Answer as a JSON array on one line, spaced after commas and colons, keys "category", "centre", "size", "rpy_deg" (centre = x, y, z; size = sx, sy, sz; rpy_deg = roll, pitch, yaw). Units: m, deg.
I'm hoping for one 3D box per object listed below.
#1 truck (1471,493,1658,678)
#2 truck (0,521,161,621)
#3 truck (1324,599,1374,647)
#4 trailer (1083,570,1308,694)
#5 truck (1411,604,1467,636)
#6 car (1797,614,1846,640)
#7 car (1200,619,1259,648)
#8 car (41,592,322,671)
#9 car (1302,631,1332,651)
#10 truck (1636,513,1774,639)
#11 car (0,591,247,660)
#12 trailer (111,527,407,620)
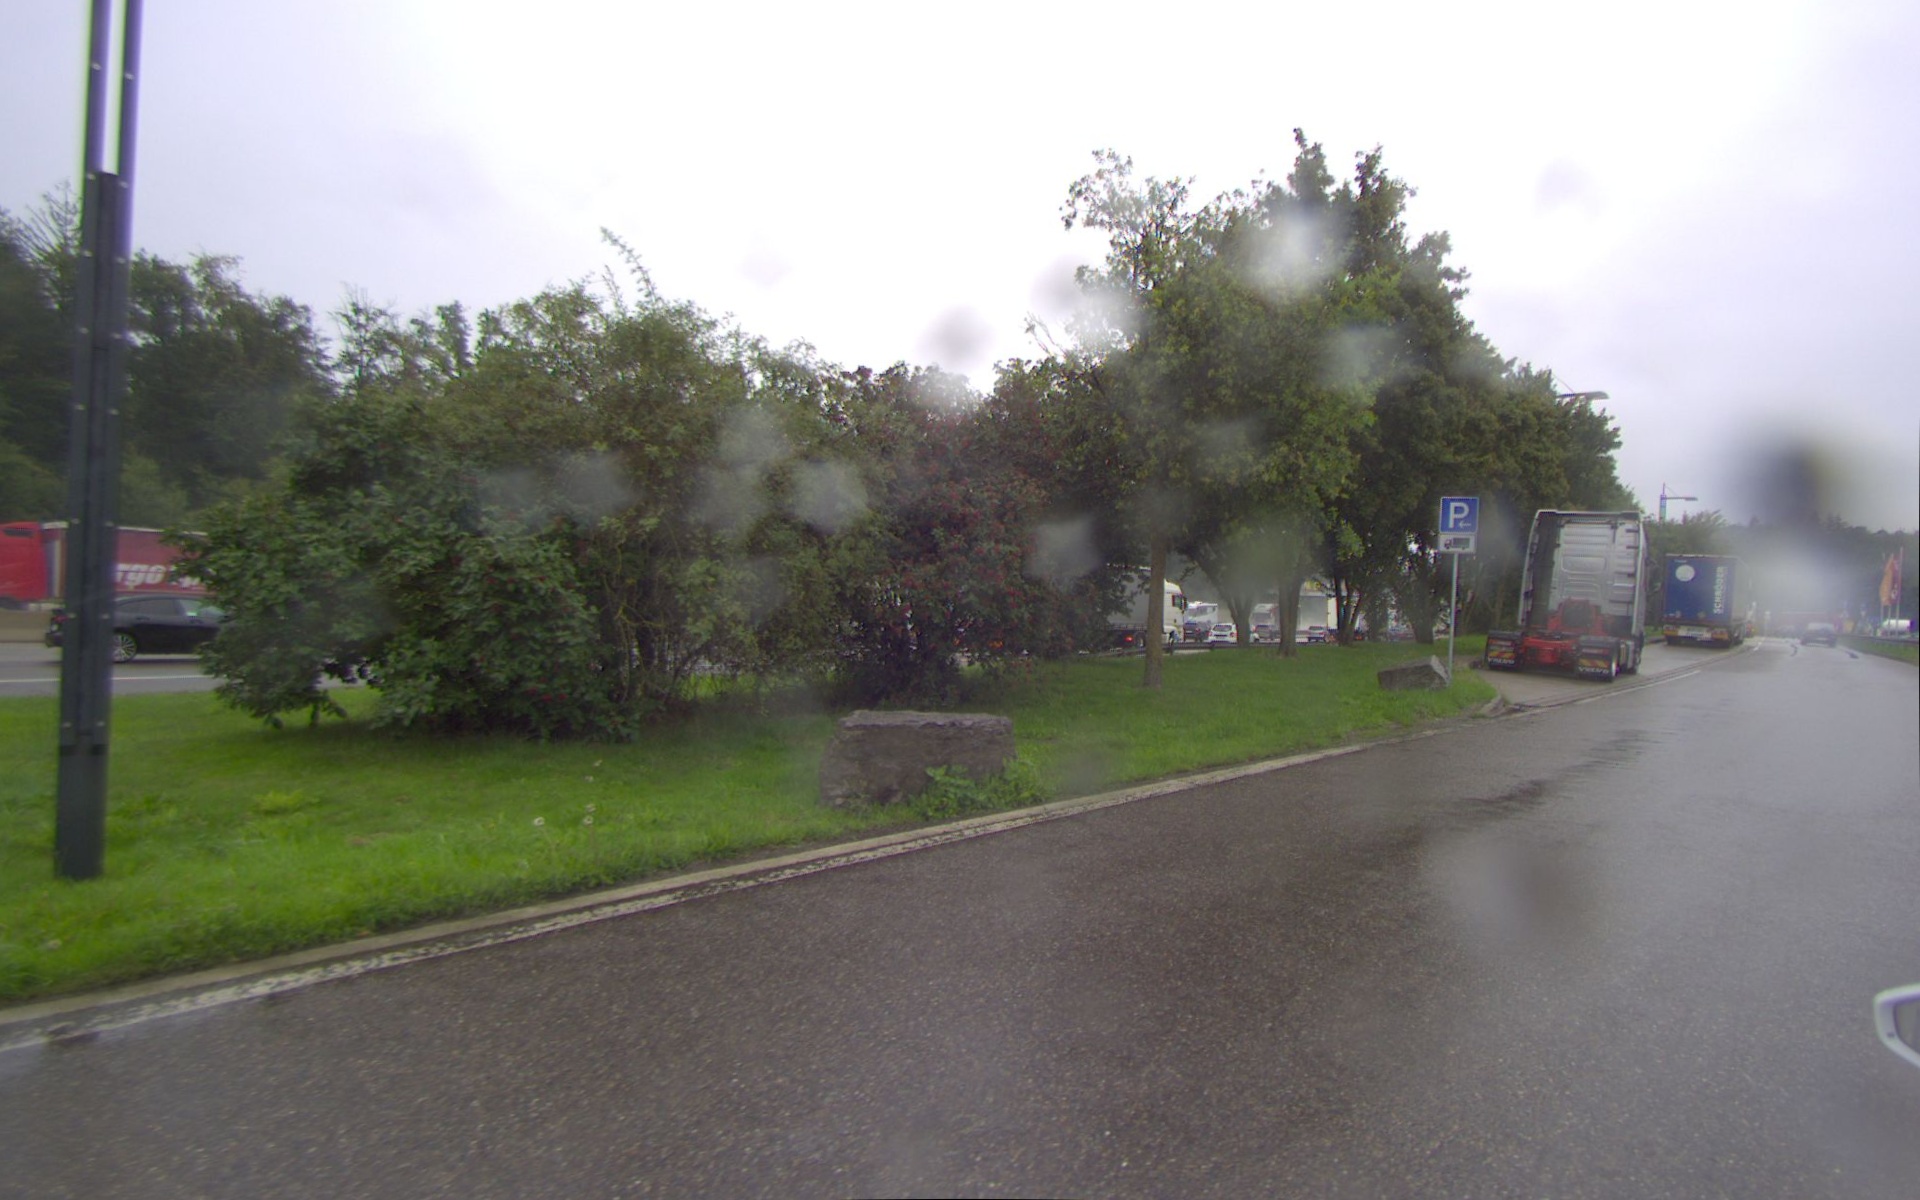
[{"category": "truck", "centre": [15.038, -0.297, 24.761], "size": [2.881, 3.956, 6.285], "rpy_deg": [2, 1, 41]}, {"category": "truck", "centre": [-35.545, -1.132, 39.662], "size": [2.409, 3.668, 5.779], "rpy_deg": [6, 3, 37]}, {"category": "truck", "centre": [30.652, 1.810, 79.061], "size": [2.467, 3.408, 4.742], "rpy_deg": [6, 1, 32]}, {"category": "trailer", "centre": [9.713, 1.324, 39.204], "size": [2.859, 4.035, 14.061], "rpy_deg": [0, -2, 38]}, {"category": "truck", "centre": [54.161, 2.261, 113.548], "size": [5.183, 3.043, 1.990], "rpy_deg": [7, 5, 41]}, {"category": "car", "centre": [54.619, 1.705, 63.658], "size": [3.971, 1.481, 1.861], "rpy_deg": [2, 1, -43]}, {"category": "car", "centre": [15.546, 1.921, 57.848], "size": [1.885, 1.571, 3.984], "rpy_deg": [1, -1, 37]}, {"category": "car", "centre": [-16.789, 0.702, 21.884], "size": [1.856, 1.500, 4.485], "rpy_deg": [2, -1, 38]}, {"category": "car", "centre": [35.143, 4.005, 98.863], "size": [1.789, 1.791, 3.987], "rpy_deg": [1, -1, 35]}, {"category": "truck", "centre": [36.021, -1.027, 48.427], "size": [4.733, 5.377, 11.021], "rpy_deg": [2, 1, 39]}, {"category": "car", "centre": [-20.286, 0.649, 24.400], "size": [1.858, 1.500, 4.481], "rpy_deg": [1, -2, 41]}, {"category": "trailer", "centre": [-31.206, -1.057, 45.454], "size": [2.425, 3.662, 10.699], "rpy_deg": [6, 3, 37]}]
